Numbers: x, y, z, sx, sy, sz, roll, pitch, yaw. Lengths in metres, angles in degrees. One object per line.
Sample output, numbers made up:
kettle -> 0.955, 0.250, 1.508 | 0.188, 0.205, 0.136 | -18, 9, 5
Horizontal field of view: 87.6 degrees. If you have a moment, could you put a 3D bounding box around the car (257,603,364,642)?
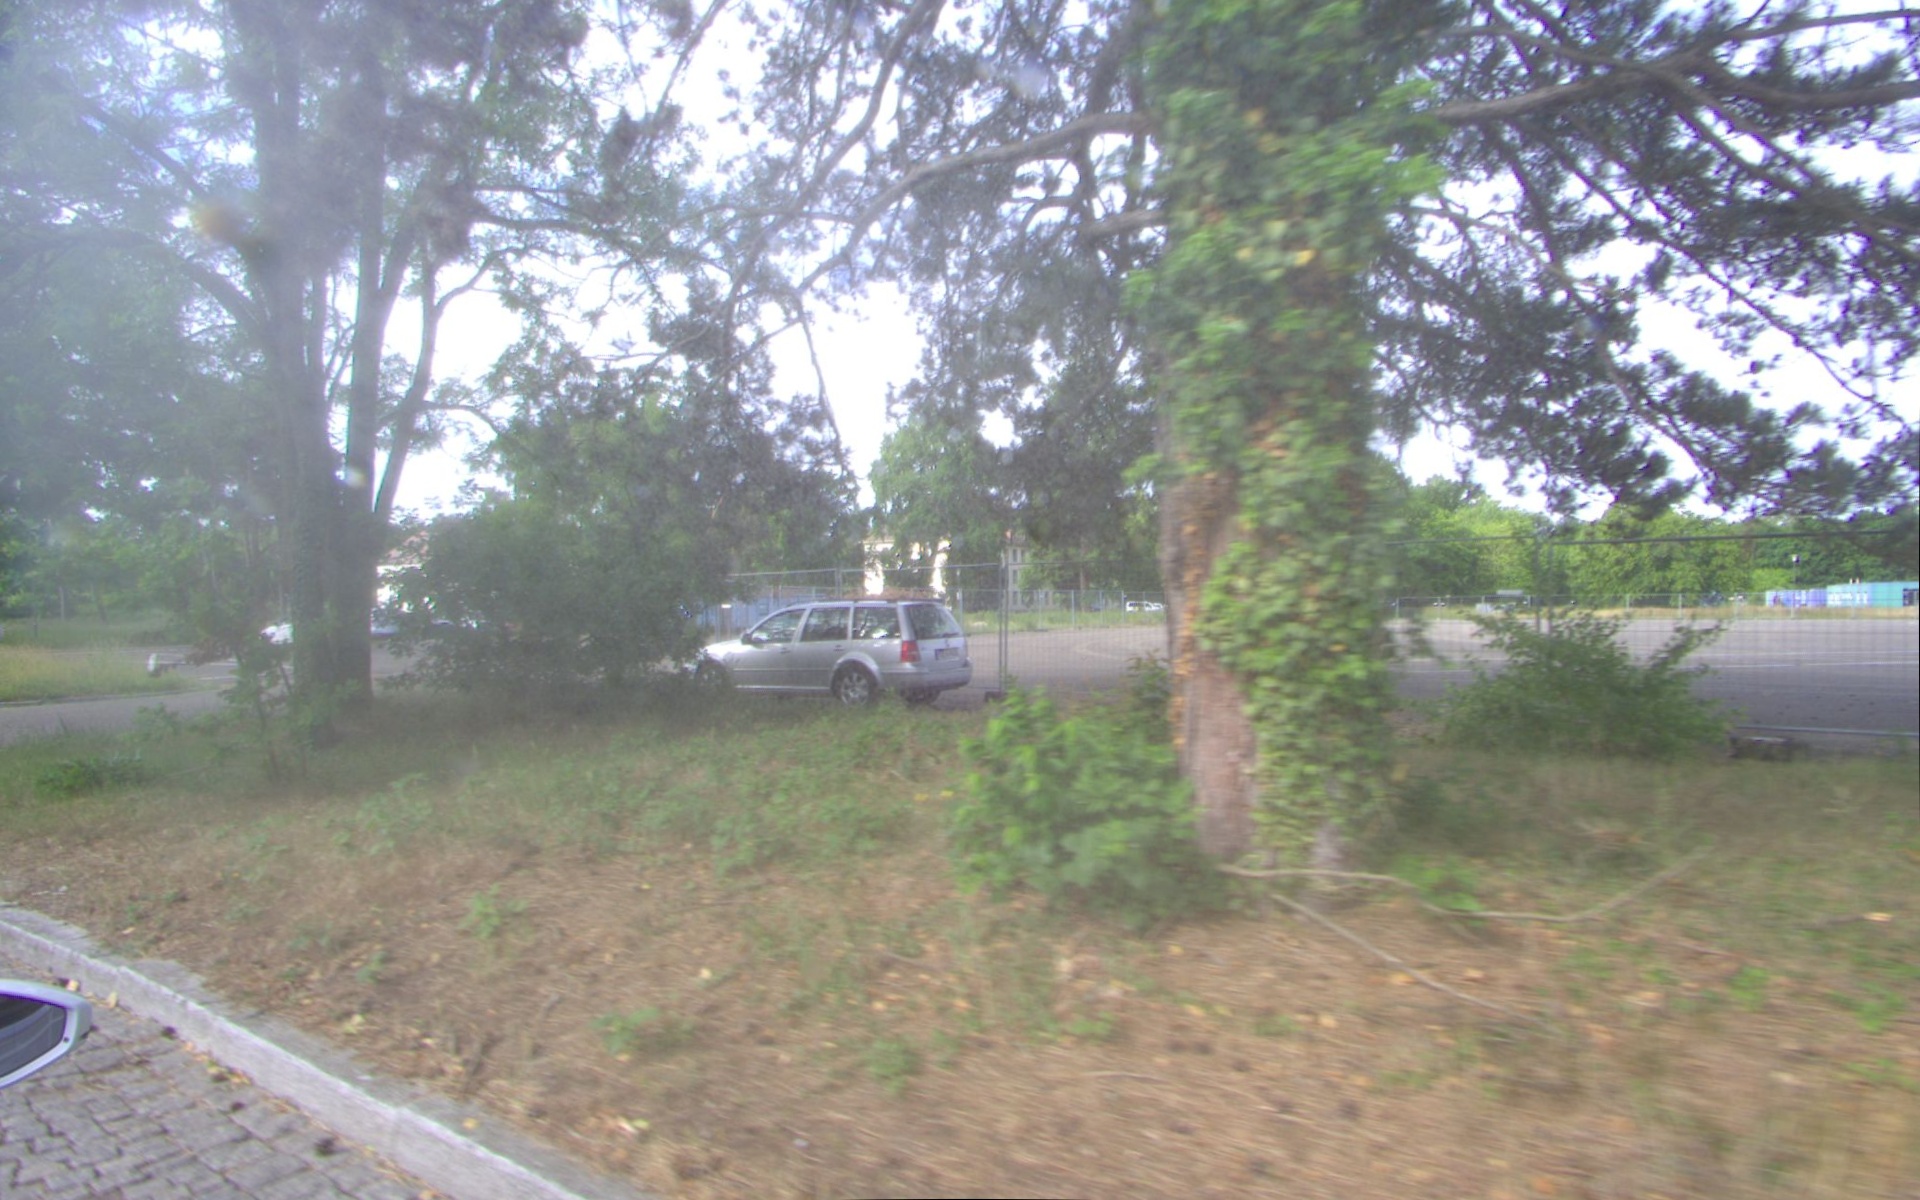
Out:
car -> -27.589, 0.973, 42.524 | 4.359, 1.500, 1.991 | -2, -1, 29

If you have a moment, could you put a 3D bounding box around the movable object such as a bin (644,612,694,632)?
movable object such as a bin -> -12.643, 0.964, 43.437 | 1.928, 0.836, 1.181 | 0, 0, 37

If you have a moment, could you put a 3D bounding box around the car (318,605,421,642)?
car -> -26.403, 1.039, 44.750 | 4.359, 1.500, 1.991 | -2, -1, 29

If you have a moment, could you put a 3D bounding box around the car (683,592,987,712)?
car -> -1.771, 0.687, 13.819 | 4.014, 1.444, 1.644 | -1, -3, 31
